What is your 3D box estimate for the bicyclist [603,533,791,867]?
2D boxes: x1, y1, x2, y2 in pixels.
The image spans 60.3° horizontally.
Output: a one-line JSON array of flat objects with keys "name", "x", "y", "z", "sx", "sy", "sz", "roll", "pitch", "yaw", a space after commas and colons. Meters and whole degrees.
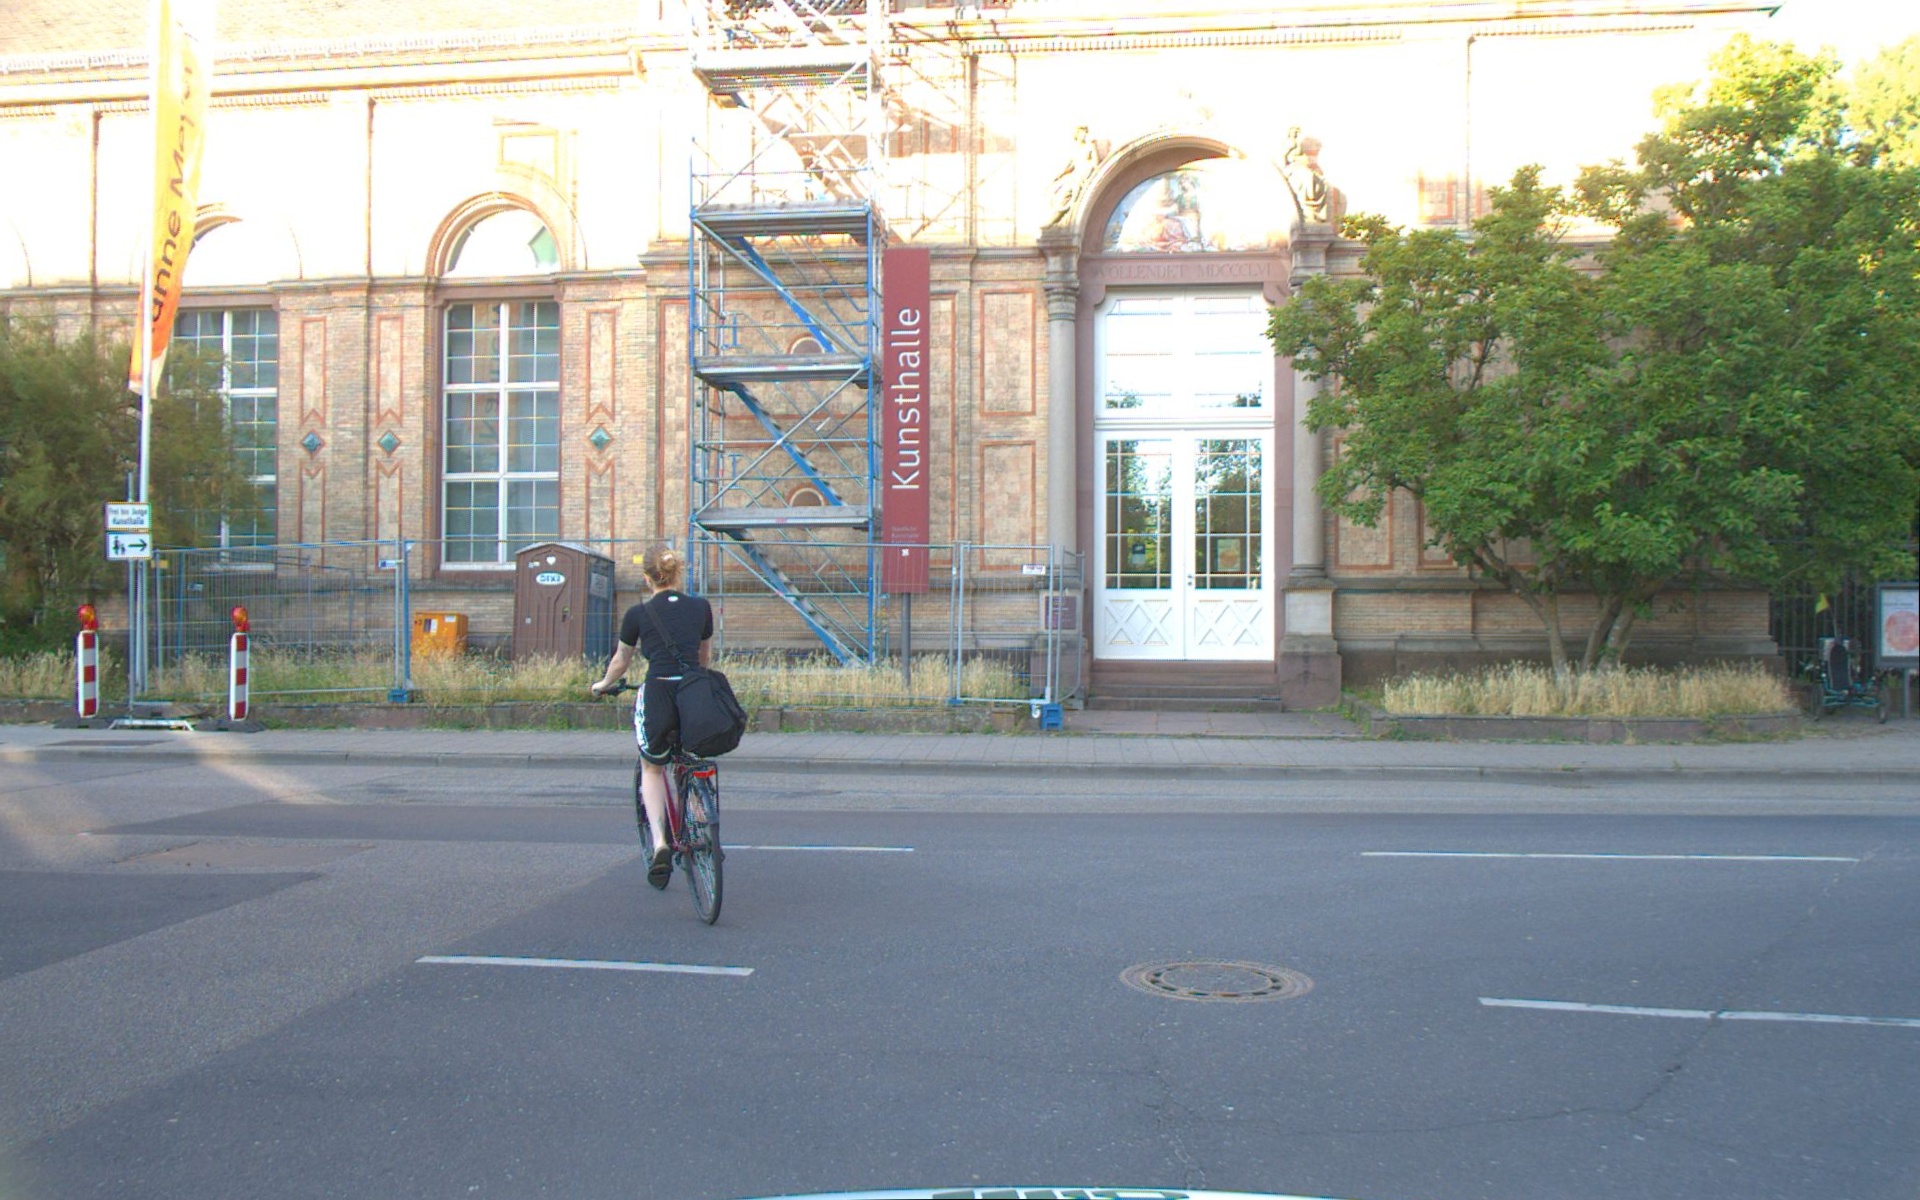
[{"name": "bicyclist", "x": -1.306, "y": 0.477, "z": 8.137, "sx": 0.707, "sy": 1.529, "sz": 0.844, "roll": 1, "pitch": -3, "yaw": -25}]

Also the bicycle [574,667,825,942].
[{"name": "bicycle", "x": -1.356, "y": 0.925, "z": 8.236, "sx": 0.702, "sy": 1.176, "sz": 2.052, "roll": 1, "pitch": -2, "yaw": -25}]
